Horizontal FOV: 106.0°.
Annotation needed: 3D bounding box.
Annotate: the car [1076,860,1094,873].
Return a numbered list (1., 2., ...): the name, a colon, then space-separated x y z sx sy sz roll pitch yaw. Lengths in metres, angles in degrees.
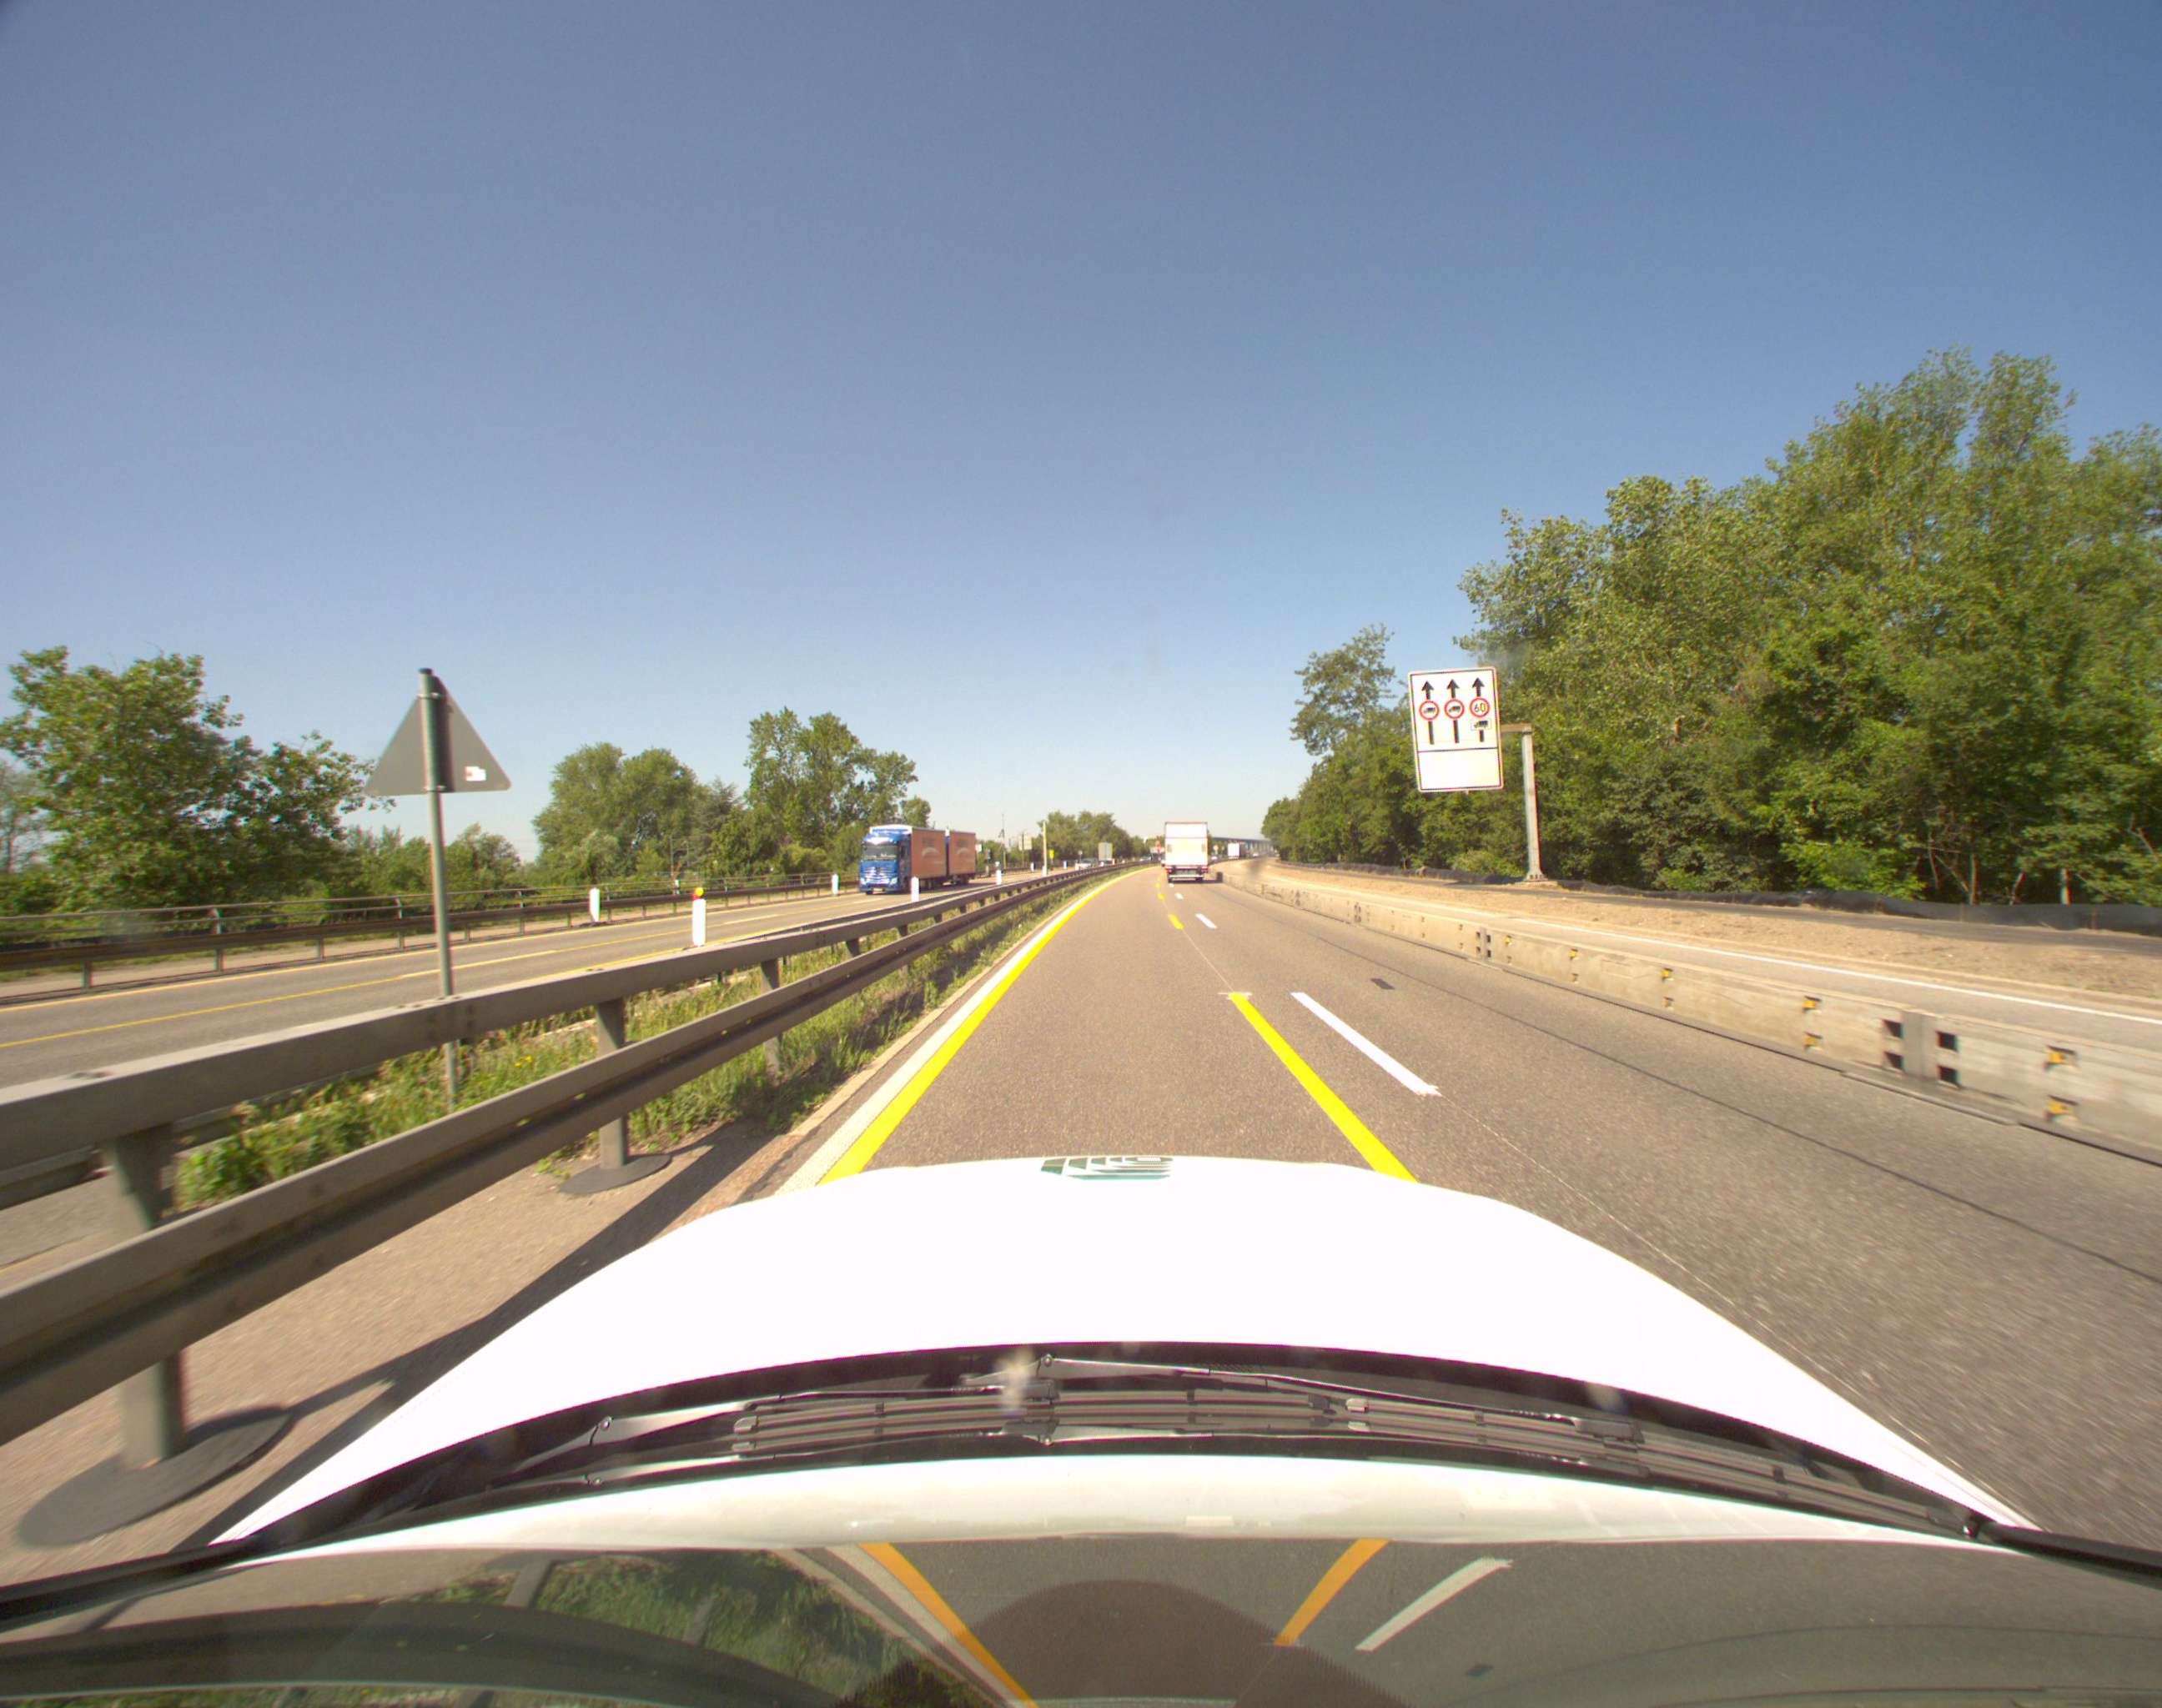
1. car: 0.558 1.721 113.641 1.898 1.651 4.386 -3 0 8

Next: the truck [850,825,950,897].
1. truck: -11.195 0.392 51.853 3.023 4.091 10.640 -1 0 5

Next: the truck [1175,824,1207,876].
1. truck: 9.983 -0.315 73.306 2.619 4.469 7.251 0 0 9

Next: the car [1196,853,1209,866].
1. car: 20.522 0.942 137.735 1.981 2.013 4.011 -4 0 10

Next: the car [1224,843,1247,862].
1. car: 37.621 -0.351 198.095 4.175 4.251 10.707 -4 0 16

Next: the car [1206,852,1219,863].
1. car: 25.876 0.651 159.719 1.978 2.013 4.017 -4 0 16

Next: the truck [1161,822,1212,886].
1. truck: 6.056 0.003 47.583 2.622 3.427 7.242 0 0 5

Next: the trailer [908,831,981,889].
1. trailer: -10.196 0.419 62.039 3.023 4.091 9.803 -1 0 5
